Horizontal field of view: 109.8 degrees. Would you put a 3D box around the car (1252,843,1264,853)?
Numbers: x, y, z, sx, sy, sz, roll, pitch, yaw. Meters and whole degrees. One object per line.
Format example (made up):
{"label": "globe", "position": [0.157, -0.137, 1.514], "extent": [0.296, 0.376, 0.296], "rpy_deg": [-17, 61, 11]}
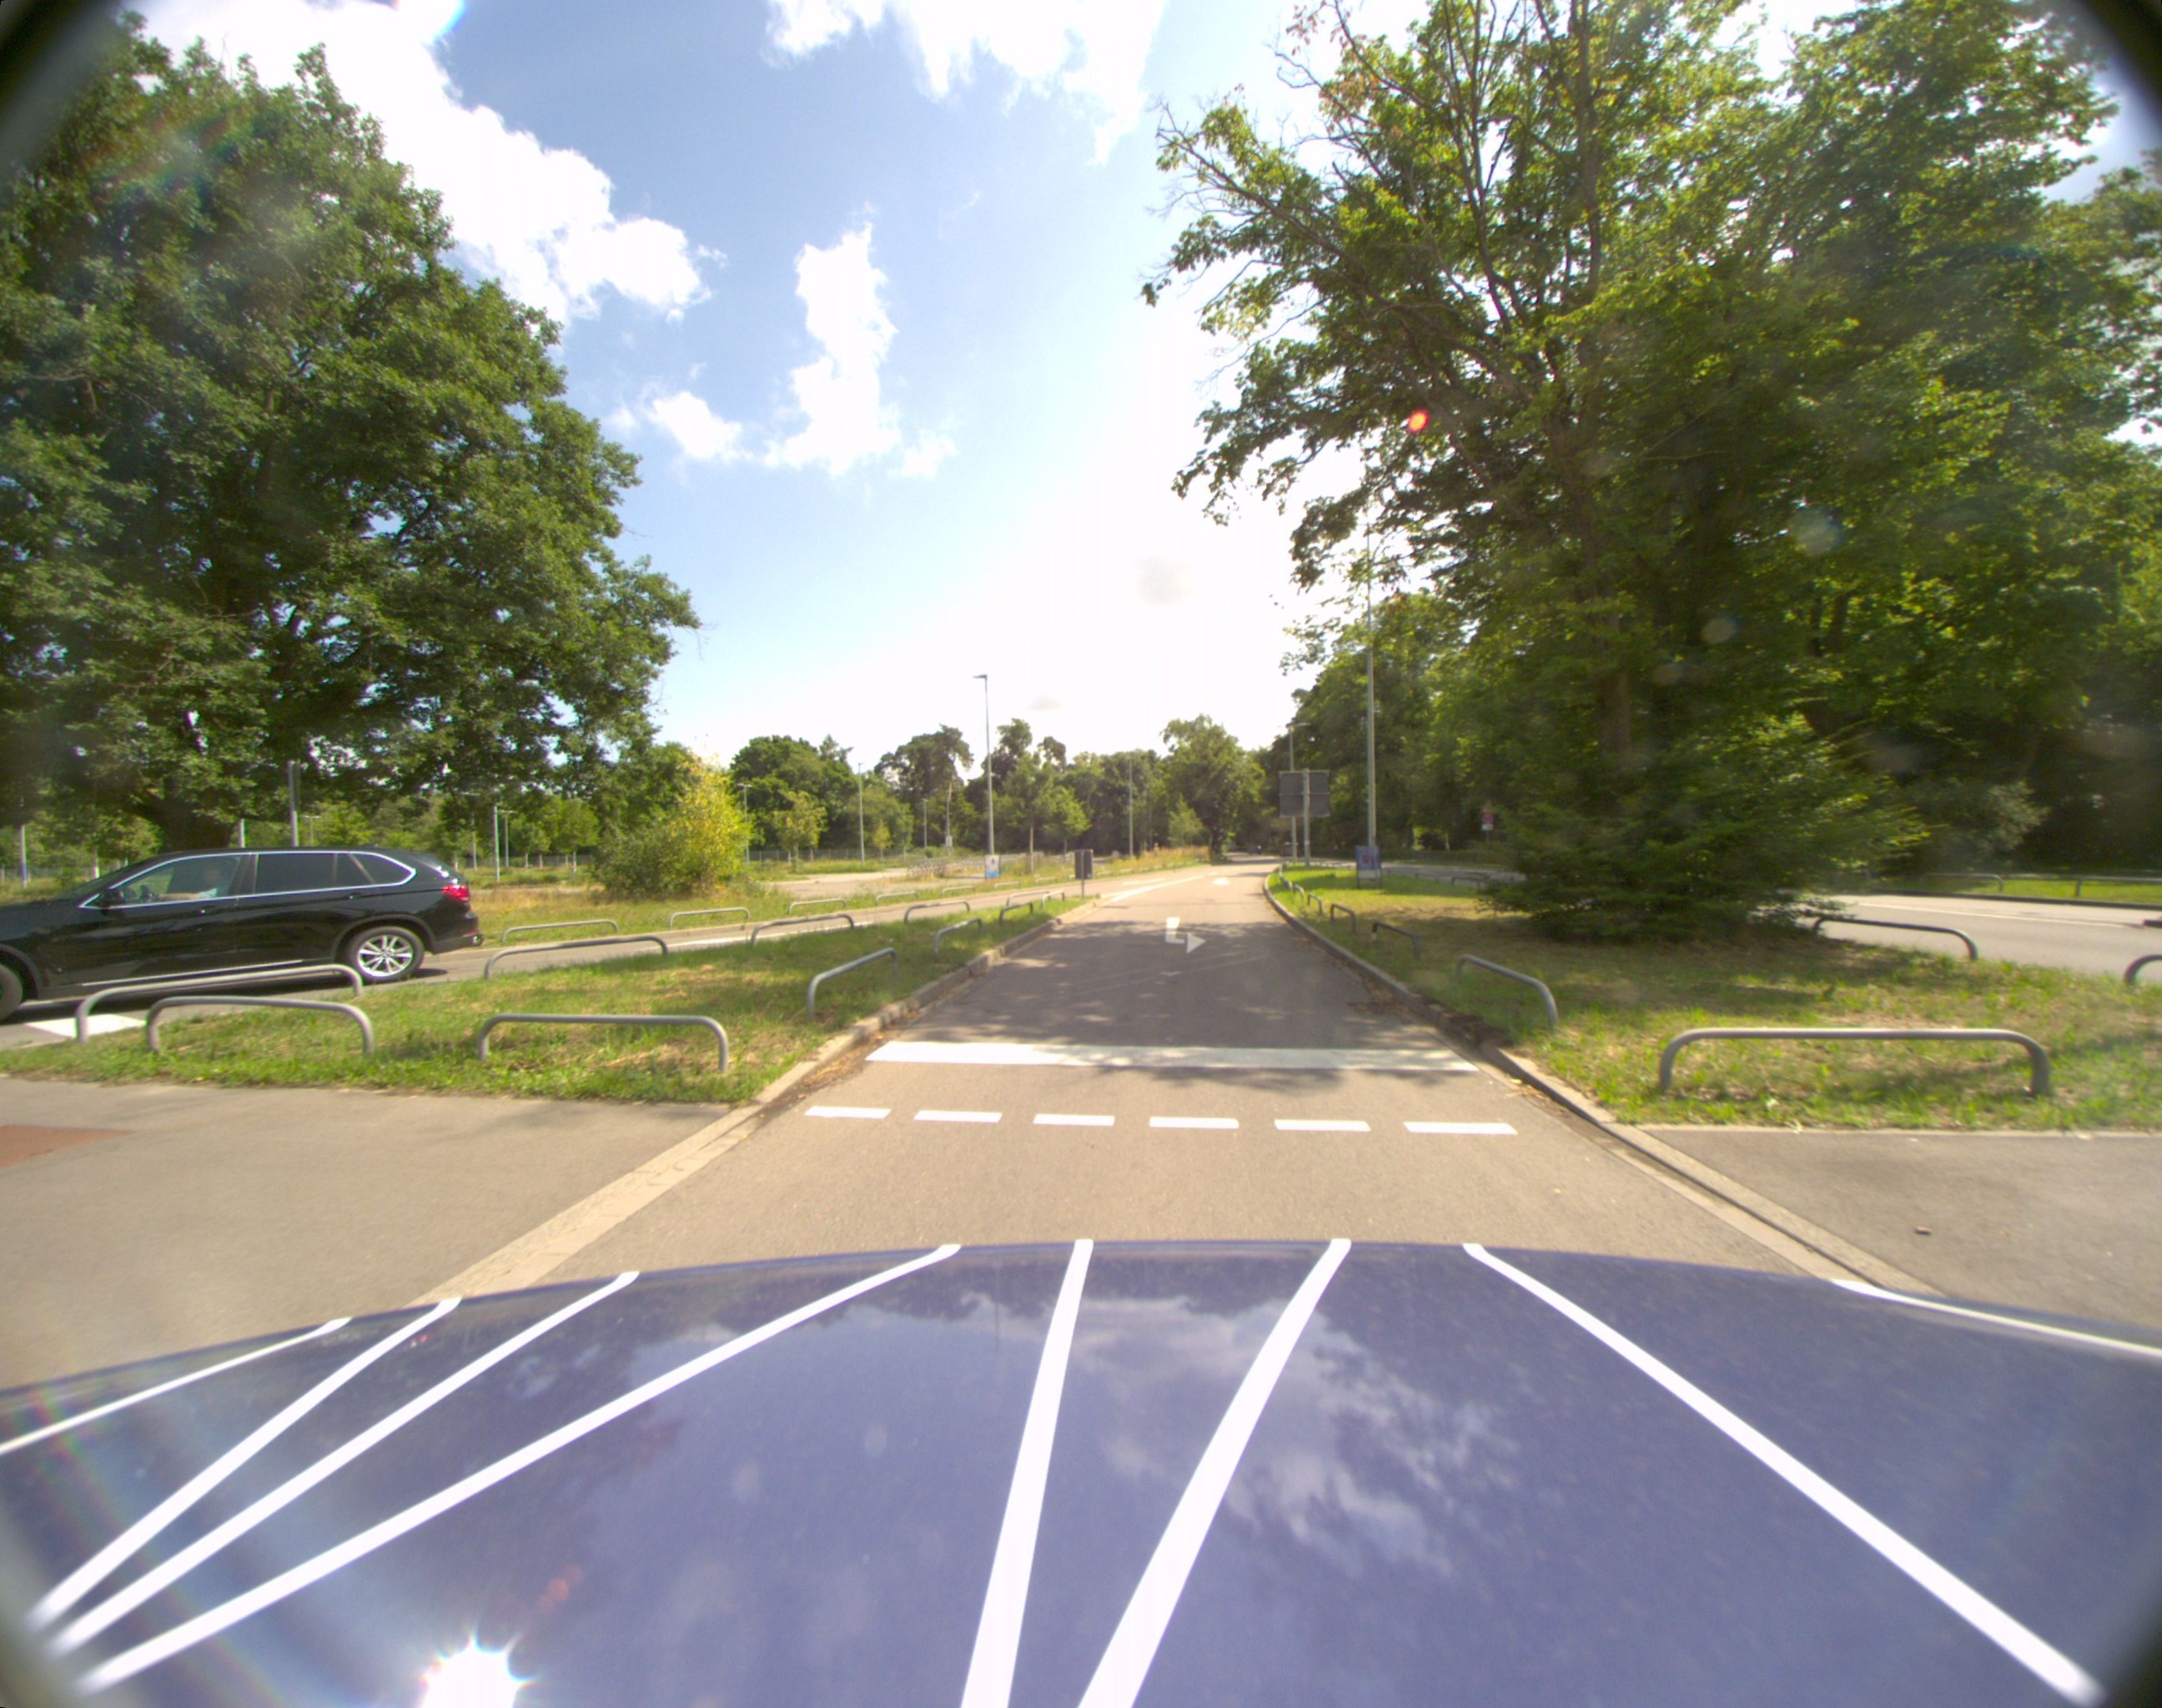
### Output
{"label": "car", "position": [27.990, -1.012, 120.412], "extent": [1.697, 1.438, 4.069], "rpy_deg": [-2, 2, 11]}

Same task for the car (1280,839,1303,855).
{"label": "car", "position": [23.374, -0.743, 84.374], "extent": [1.764, 1.620, 4.301], "rpy_deg": [-3, 0, 6]}

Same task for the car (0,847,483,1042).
{"label": "car", "position": [-10.082, 0.855, 8.721], "extent": [1.976, 1.755, 4.717], "rpy_deg": [0, 1, 41]}

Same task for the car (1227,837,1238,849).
{"label": "car", "position": [34.015, -2.502, 170.807], "extent": [1.979, 2.417, 5.363], "rpy_deg": [-3, 2, 6]}
